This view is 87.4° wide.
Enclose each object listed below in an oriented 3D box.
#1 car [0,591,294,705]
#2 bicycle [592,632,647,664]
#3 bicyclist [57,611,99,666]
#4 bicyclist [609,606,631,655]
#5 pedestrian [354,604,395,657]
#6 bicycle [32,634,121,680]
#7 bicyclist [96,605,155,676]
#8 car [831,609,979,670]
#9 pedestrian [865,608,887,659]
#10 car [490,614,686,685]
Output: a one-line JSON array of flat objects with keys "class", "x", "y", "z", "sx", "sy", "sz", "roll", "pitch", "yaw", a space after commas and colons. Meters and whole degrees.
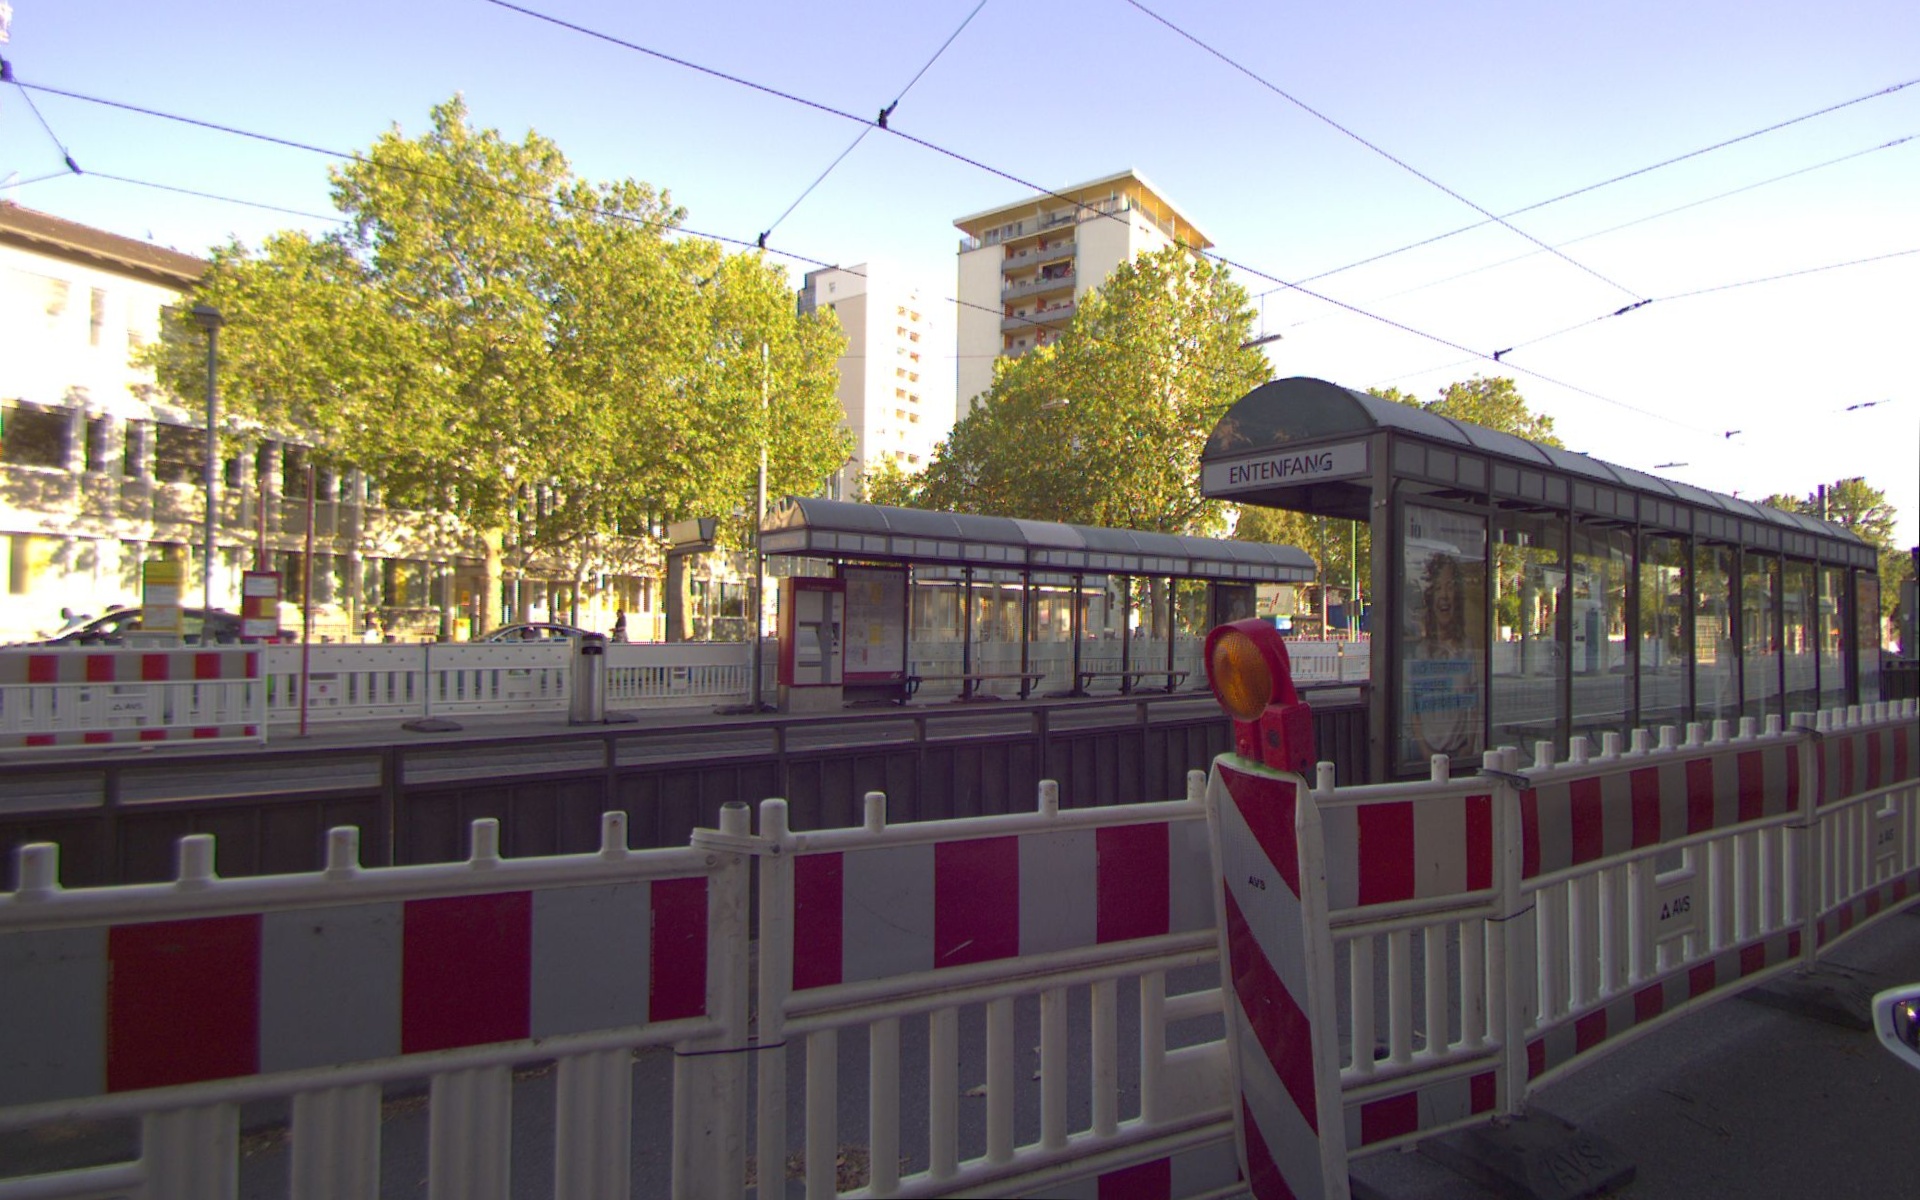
[{"class": "car", "x": -13.807, "y": 0.749, "z": 16.613, "sx": 4.544, "sy": 1.689, "sz": 1.881, "roll": 2, "pitch": 0, "yaw": -37}, {"class": "bicycle", "x": -9.981, "y": 1.392, "z": 29.450, "sx": 1.451, "sy": 0.907, "sz": 0.459, "roll": 2, "pitch": -1, "yaw": -35}, {"class": "bicyclist", "x": -19.643, "y": 0.853, "z": 22.372, "sx": 0.657, "sy": 1.189, "sz": 0.407, "roll": 2, "pitch": -1, "yaw": -39}, {"class": "bicyclist", "x": -9.971, "y": 0.892, "z": 29.458, "sx": 0.460, "sy": 1.415, "sz": 0.459, "roll": 1, "pitch": -1, "yaw": -35}, {"class": "pedestrian", "x": -19.720, "y": 1.021, "z": 33.828, "sx": 0.793, "sy": 1.751, "sz": 0.884, "roll": 0, "pitch": -1, "yaw": 29}, {"class": "bicycle", "x": -19.646, "y": 1.255, "z": 22.370, "sx": 1.449, "sy": 0.980, "sz": 0.407, "roll": 2, "pitch": -1, "yaw": -39}, {"class": "bicyclist", "x": -15.667, "y": 0.756, "z": 18.876, "sx": 0.798, "sy": 1.311, "sz": 0.555, "roll": 2, "pitch": -1, "yaw": -38}, {"class": "car", "x": -1.455, "y": 1.057, "z": 27.291, "sx": 3.740, "sy": 1.532, "sz": 1.646, "roll": 2, "pitch": -2, "yaw": -38}, {"class": "pedestrian", "x": -3.062, "y": 1.221, "z": 36.603, "sx": 0.604, "sy": 1.833, "sz": 0.565, "roll": 1, "pitch": -1, "yaw": -24}, {"class": "car", "x": -9.841, "y": 1.277, "z": 26.728, "sx": 4.544, "sy": 1.689, "sz": 1.881, "roll": 2, "pitch": 0, "yaw": -37}]
